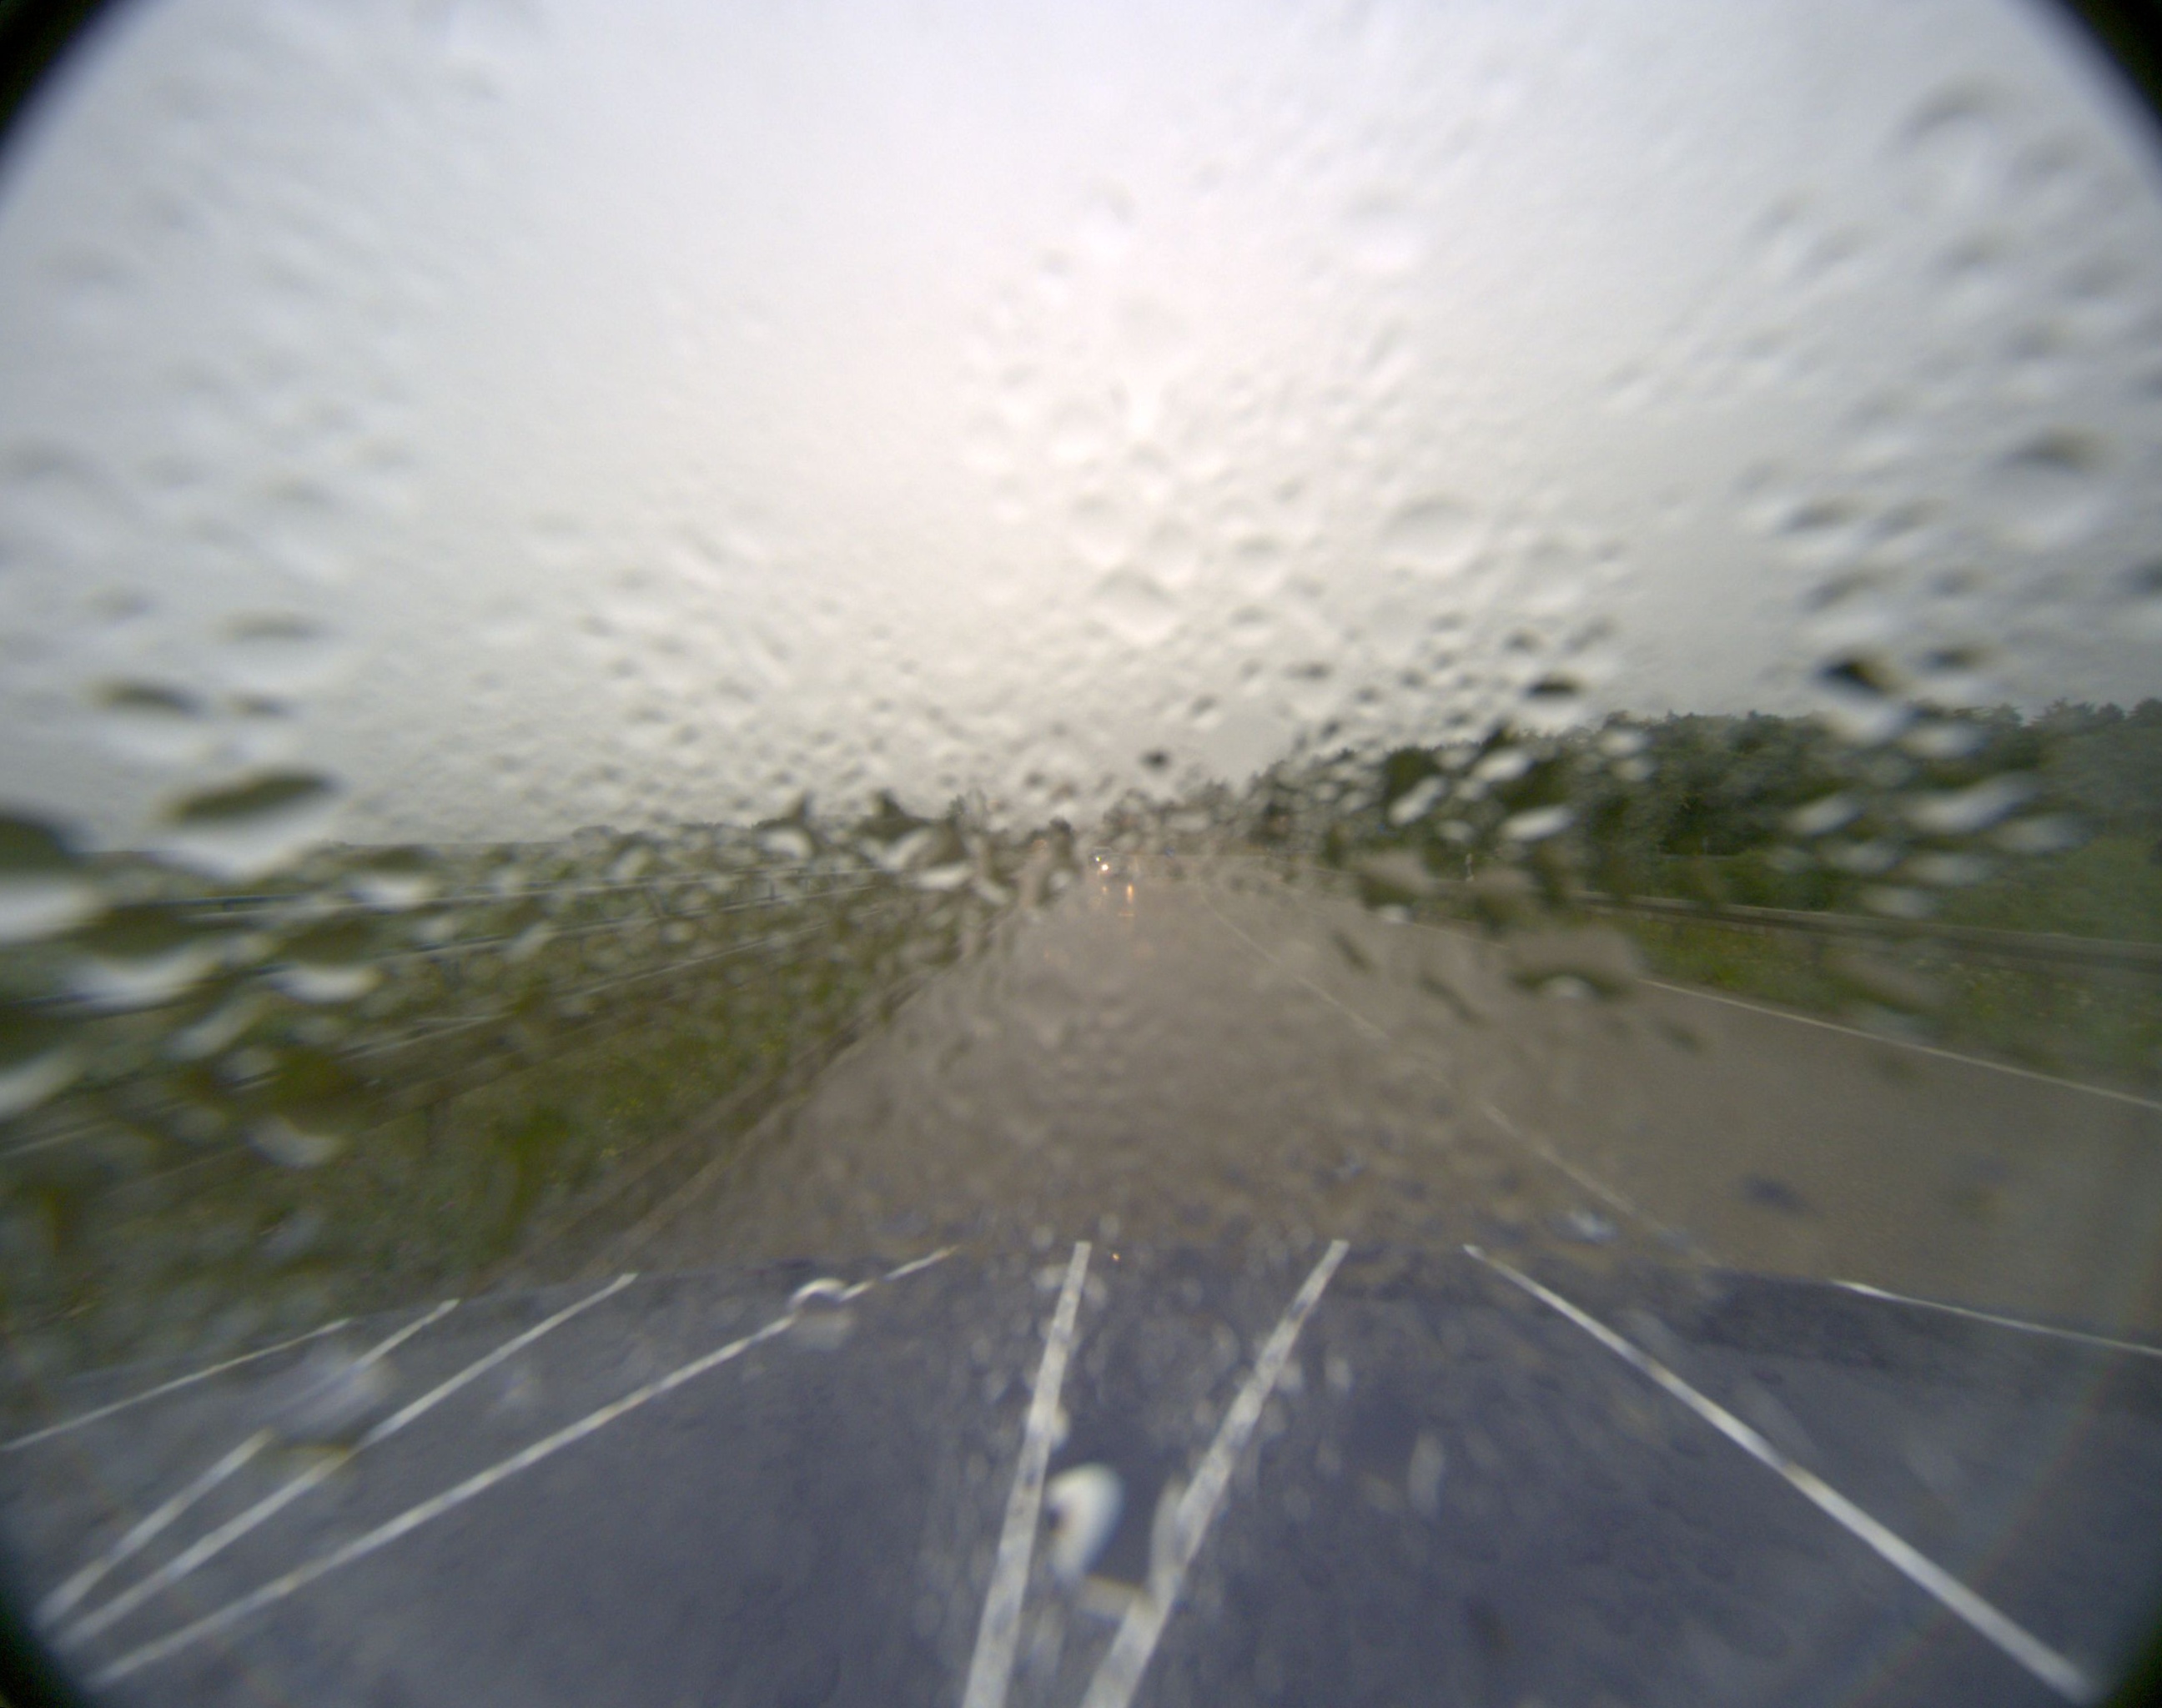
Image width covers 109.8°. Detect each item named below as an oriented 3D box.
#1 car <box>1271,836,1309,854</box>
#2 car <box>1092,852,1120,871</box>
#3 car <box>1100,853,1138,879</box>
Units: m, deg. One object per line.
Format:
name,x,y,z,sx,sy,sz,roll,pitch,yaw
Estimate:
car,19.593,-0.864,71.022,1.801,1.566,4.007,1,3,42
car,1.924,0.588,59.485,1.763,1.412,4.502,0,0,-4
car,2.162,0.627,42.122,1.947,1.363,4.505,0,0,5
